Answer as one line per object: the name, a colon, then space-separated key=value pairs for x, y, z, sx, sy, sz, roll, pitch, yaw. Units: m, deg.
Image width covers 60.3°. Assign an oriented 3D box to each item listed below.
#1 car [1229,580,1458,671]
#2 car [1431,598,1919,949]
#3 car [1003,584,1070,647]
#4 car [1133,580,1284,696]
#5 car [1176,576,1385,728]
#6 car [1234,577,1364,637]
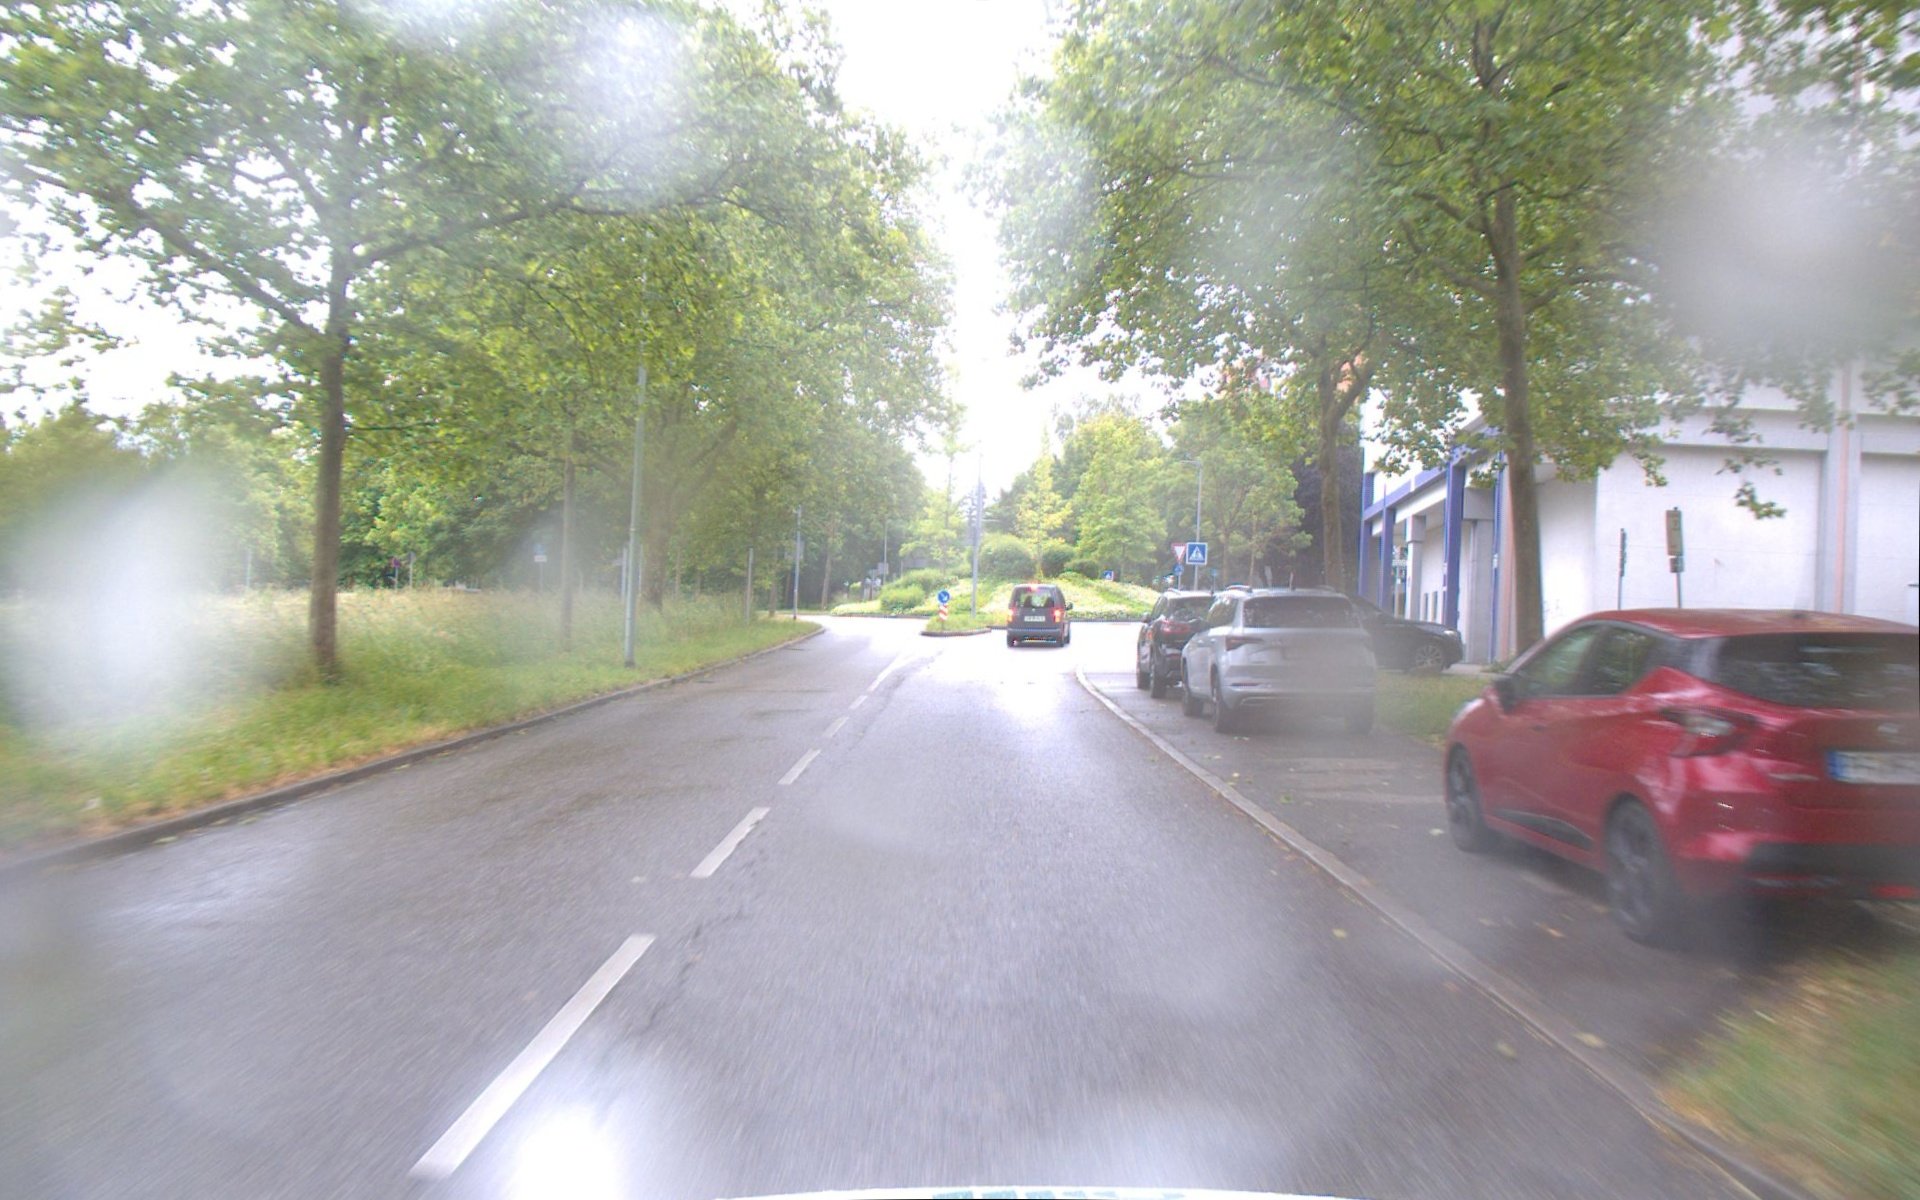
car: x=7.982 y=0.510 z=34.700 sx=4.377 sy=1.709 sz=1.768 roll=2 pitch=1 yaw=2
car: x=3.821 y=0.698 z=8.499 sx=1.760 sy=1.396 sz=3.744 roll=0 pitch=0 yaw=0
car: x=2.392 y=0.435 z=50.714 sx=1.878 sy=1.833 sz=3.792 roll=0 pitch=0 yaw=5
car: x=3.763 y=0.541 z=25.717 sx=1.764 sy=1.630 sz=4.372 roll=1 pitch=0 yaw=1
car: x=3.694 y=0.555 z=19.737 sx=1.692 sy=1.619 sz=4.253 roll=0 pitch=0 yaw=0
car: x=12.018 y=0.223 z=58.833 sx=4.285 sy=1.789 sz=1.831 roll=3 pitch=2 yaw=6
